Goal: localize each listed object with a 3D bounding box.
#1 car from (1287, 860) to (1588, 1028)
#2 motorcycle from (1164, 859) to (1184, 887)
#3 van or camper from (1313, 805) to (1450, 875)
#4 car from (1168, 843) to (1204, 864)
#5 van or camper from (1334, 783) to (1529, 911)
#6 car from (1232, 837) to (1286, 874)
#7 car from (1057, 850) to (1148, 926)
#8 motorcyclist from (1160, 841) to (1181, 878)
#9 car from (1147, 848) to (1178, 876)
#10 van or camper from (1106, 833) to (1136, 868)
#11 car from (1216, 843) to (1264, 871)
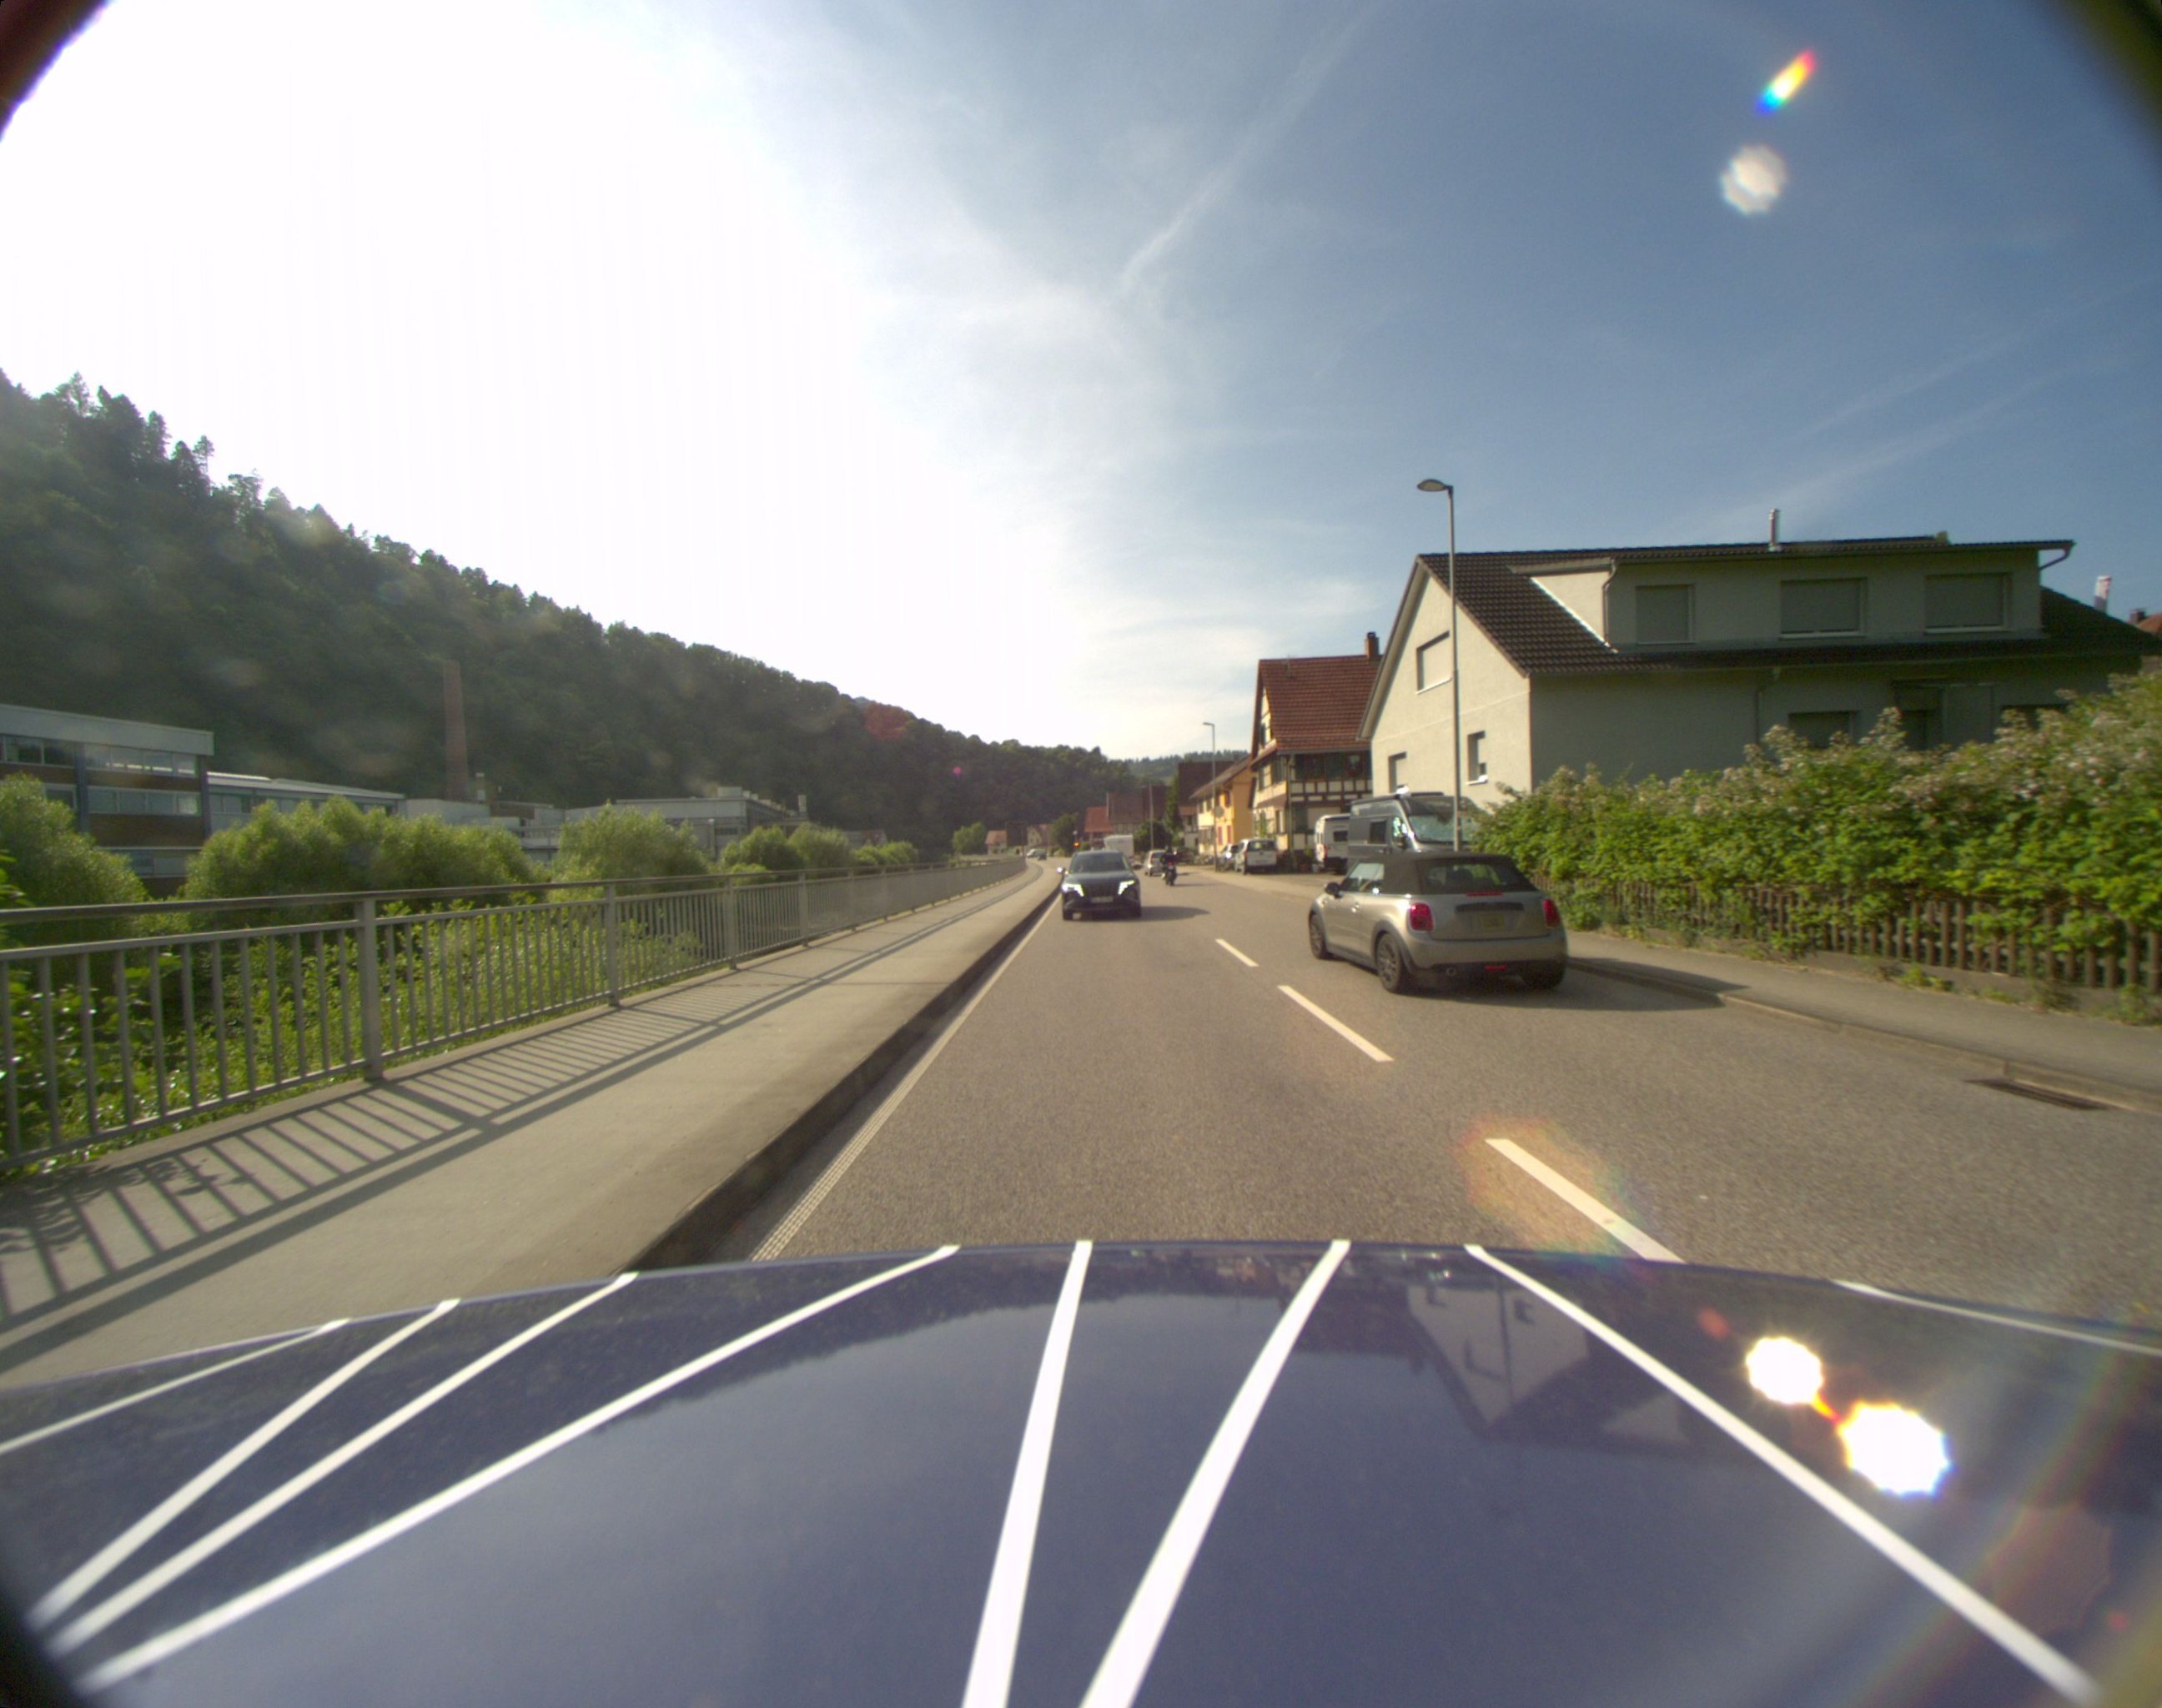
[{"bbox_3d":[3.835,0.849,9.017,1.718,1.395,3.999,-2,1,1],"label":"car"},{"bbox_3d":[3.895,0.787,32.005,0.655,1.062,2.182,-2,1,3],"label":"motorcycle"},{"bbox_3d":[13.199,-0.610,33.701,5.186,2.648,2.193,-4,1,8],"label":"van or camper"},{"bbox_3d":[8.374,-0.075,60.942,1.889,1.510,4.234,-4,1,-4],"label":"car"},{"bbox_3d":[8.236,-0.173,18.669,2.153,2.540,5.901,-2,1,2],"label":"van or camper"},{"bbox_3d":[8.782,0.047,37.831,1.905,1.655,4.268,-3,1,4],"label":"car"},{"bbox_3d":[0.426,0.760,19.176,1.650,1.639,3.997,-3,1,-7],"label":"car"},{"bbox_3d":[3.749,0.224,31.845,0.827,1.549,0.628,-2,1,4],"label":"motorcyclist"},{"bbox_3d":[4.870,0.425,44.993,1.633,1.476,4.002,-3,1,8],"label":"car"},{"bbox_3d":[3.566,-0.345,69.268,2.201,2.921,7.125,-3,0,-1],"label":"van or camper"},{"bbox_3d":[9.172,0.170,44.148,1.889,1.510,4.093,-1,0,0],"label":"car"}]
